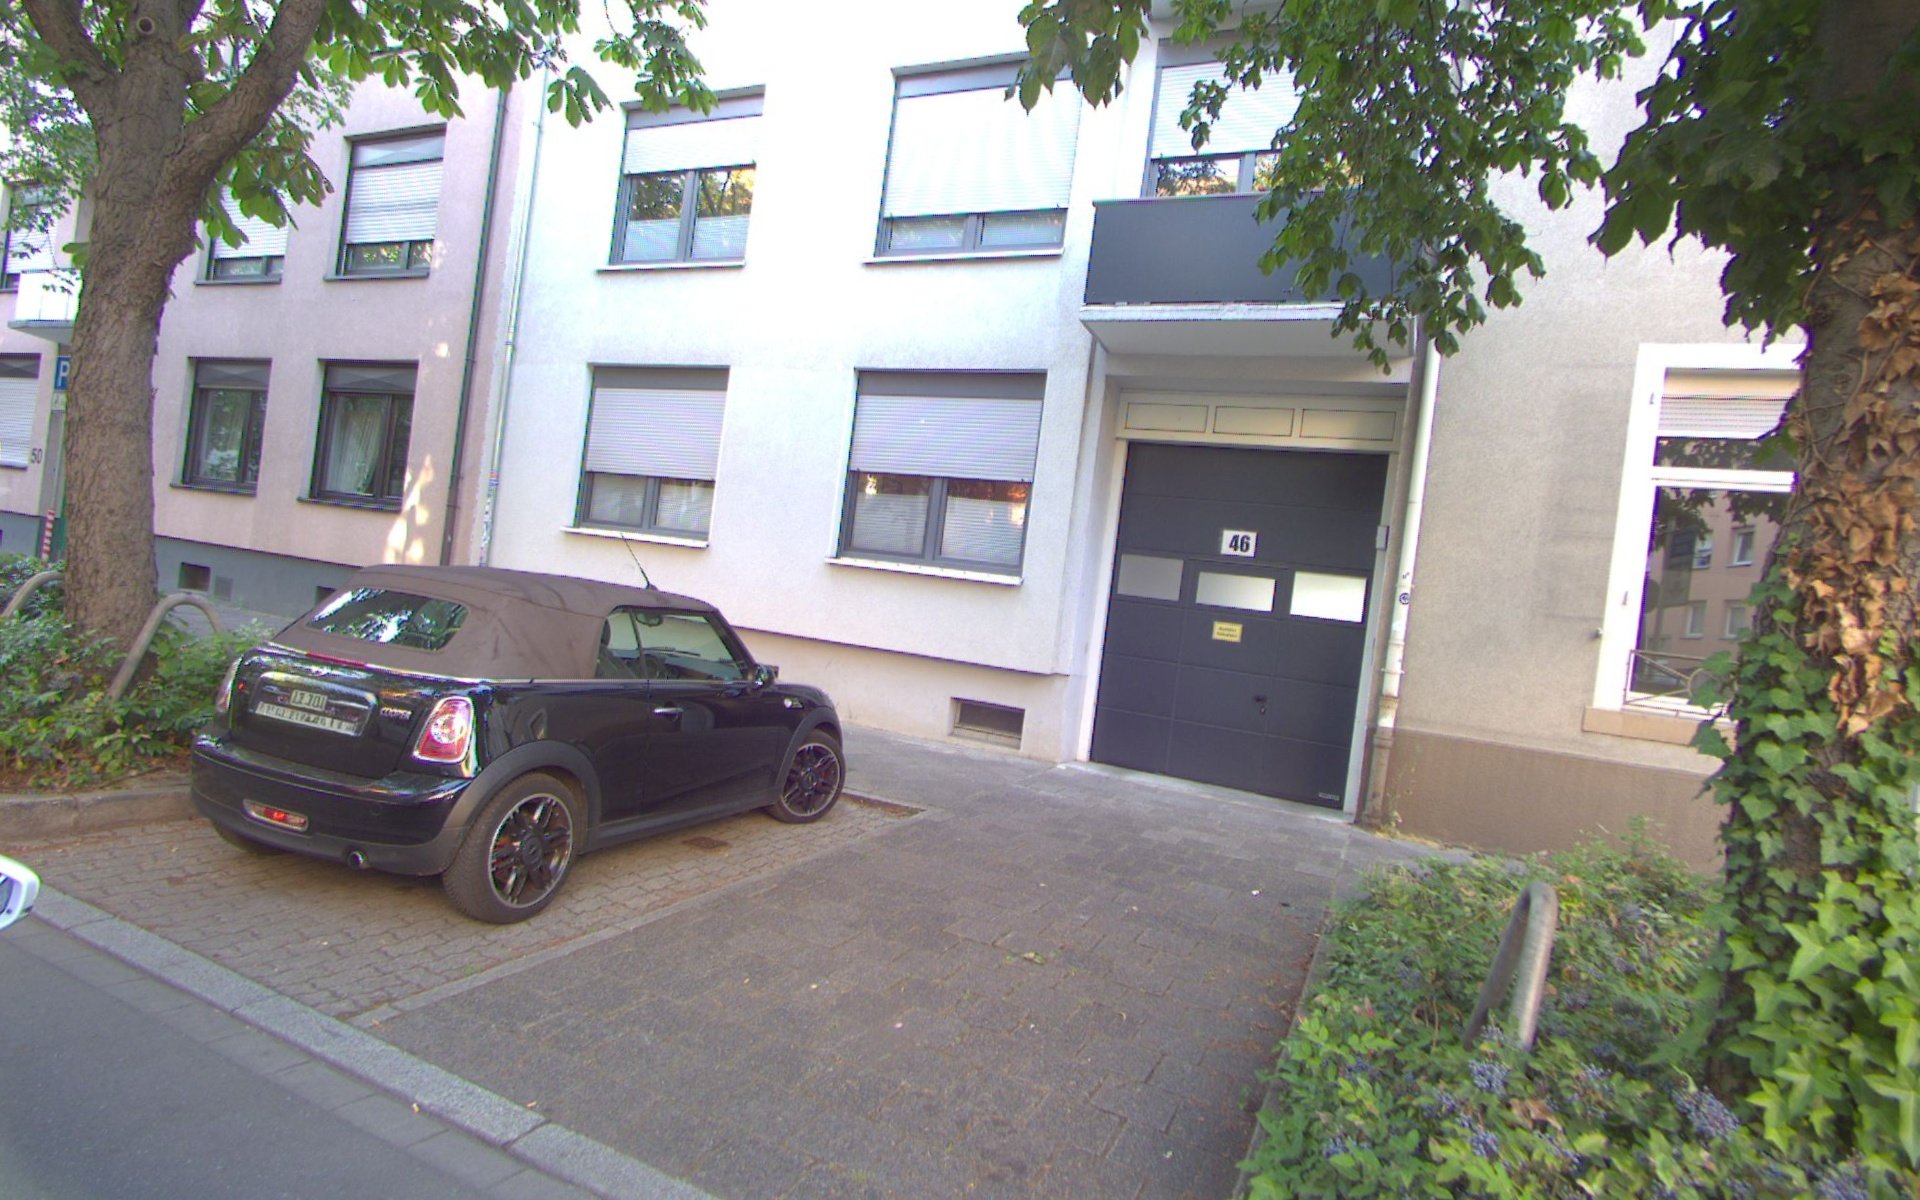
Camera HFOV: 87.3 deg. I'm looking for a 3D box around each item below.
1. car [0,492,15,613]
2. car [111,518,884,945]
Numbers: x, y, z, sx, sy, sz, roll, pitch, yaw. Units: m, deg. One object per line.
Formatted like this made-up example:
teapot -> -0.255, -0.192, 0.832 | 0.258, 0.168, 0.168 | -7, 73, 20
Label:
car -> -13.349, -0.798, 11.046 | 1.634, 1.494, 3.921 | 7, -1, 24
car -> -2.020, 0.555, 5.532 | 1.634, 1.380, 3.622 | 7, -1, 22
